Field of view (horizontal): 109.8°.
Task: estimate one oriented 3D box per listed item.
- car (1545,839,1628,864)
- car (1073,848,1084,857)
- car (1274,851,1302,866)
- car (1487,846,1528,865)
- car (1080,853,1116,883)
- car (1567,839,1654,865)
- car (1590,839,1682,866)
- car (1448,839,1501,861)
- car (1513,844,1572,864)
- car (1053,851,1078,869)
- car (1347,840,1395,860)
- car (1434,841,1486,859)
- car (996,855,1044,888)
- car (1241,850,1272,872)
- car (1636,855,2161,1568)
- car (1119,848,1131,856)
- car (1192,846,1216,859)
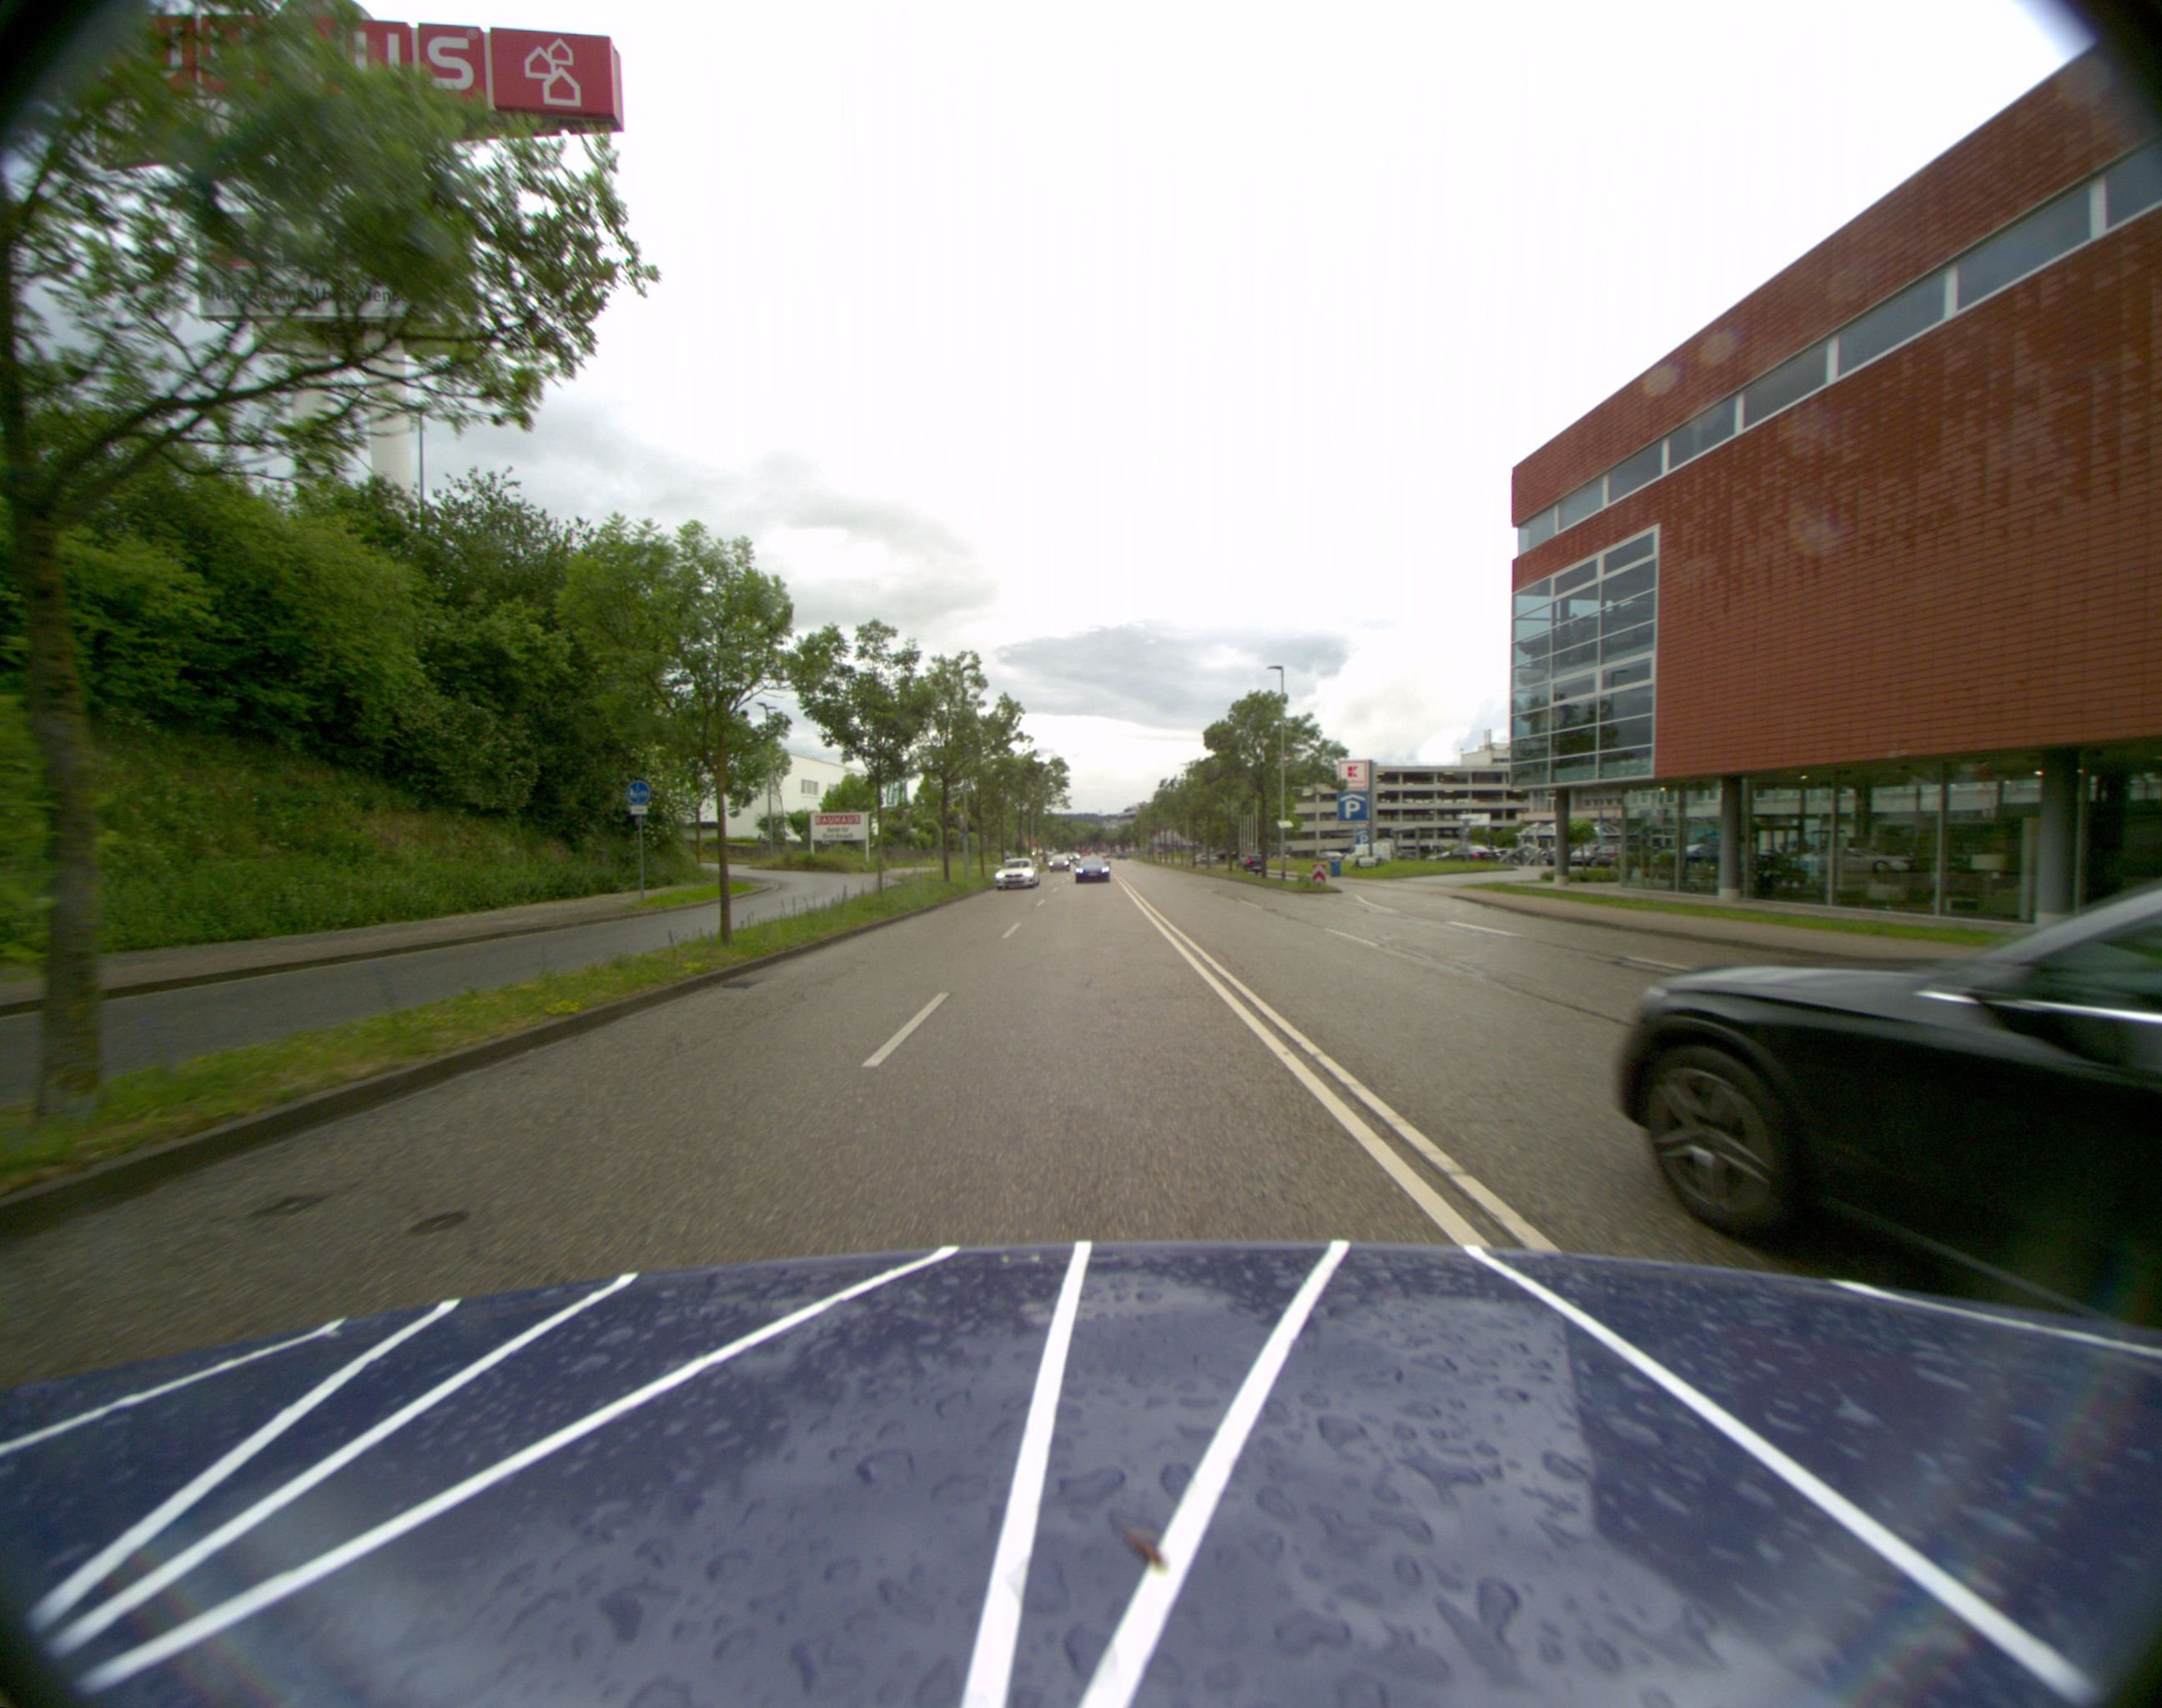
[{"bbox_3d":[34.294,-0.153,51.603,4.436,1.608,1.834,-1,1,-2],"label":"car"},{"bbox_3d":[-0.540,-0.366,153.289,1.853,1.565,3.998,-2,2,-3],"label":"car"},{"bbox_3d":[22.628,0.503,83.259,1.833,1.608,4.062,-1,0,-2],"label":"car"},{"bbox_3d":[33.173,0.118,59.165,1.439,1.414,3.497,-1,0,3],"label":"car"},{"bbox_3d":[0.887,0.710,41.114,1.827,1.473,4.839,1,0,0],"label":"car"},{"bbox_3d":[34.329,-0.113,49.322,4.436,1.608,1.834,-1,1,-2],"label":"car"},{"bbox_3d":[34.389,-0.095,47.137,4.436,1.608,1.834,-1,1,-2],"label":"car"},{"bbox_3d":[24.670,-0.286,47.738,1.509,1.276,3.449,-2,1,1],"label":"car"},{"bbox_3d":[38.059,-0.021,62.754,3.999,1.590,1.680,-1,1,-7],"label":"car"},{"bbox_3d":[-1.427,0.517,71.319,2.114,1.610,4.839,-2,0,0],"label":"car"},{"bbox_3d":[24.155,-0.314,63.437,1.834,1.608,4.436,-1,0,-7],"label":"car"},{"bbox_3d":[36.449,-0.369,73.133,4.060,1.608,1.834,-1,1,0],"label":"car"},{"bbox_3d":[-2.967,0.815,37.666,1.864,1.473,4.000,-2,0,2],"label":"car"},{"bbox_3d":[13.984,0.522,60.706,1.832,1.608,4.001,-2,0,6],"label":"car"},{"bbox_3d":[3.320,0.803,1.107,1.863,1.568,4.320,1,0,0],"label":"car"},{"bbox_3d":[9.358,-0.396,162.408,2.114,1.610,4.839,1,0,0],"label":"car"},{"bbox_3d":[17.927,-0.184,110.588,1.845,1.839,4.008,0,0,38],"label":"car"}]
